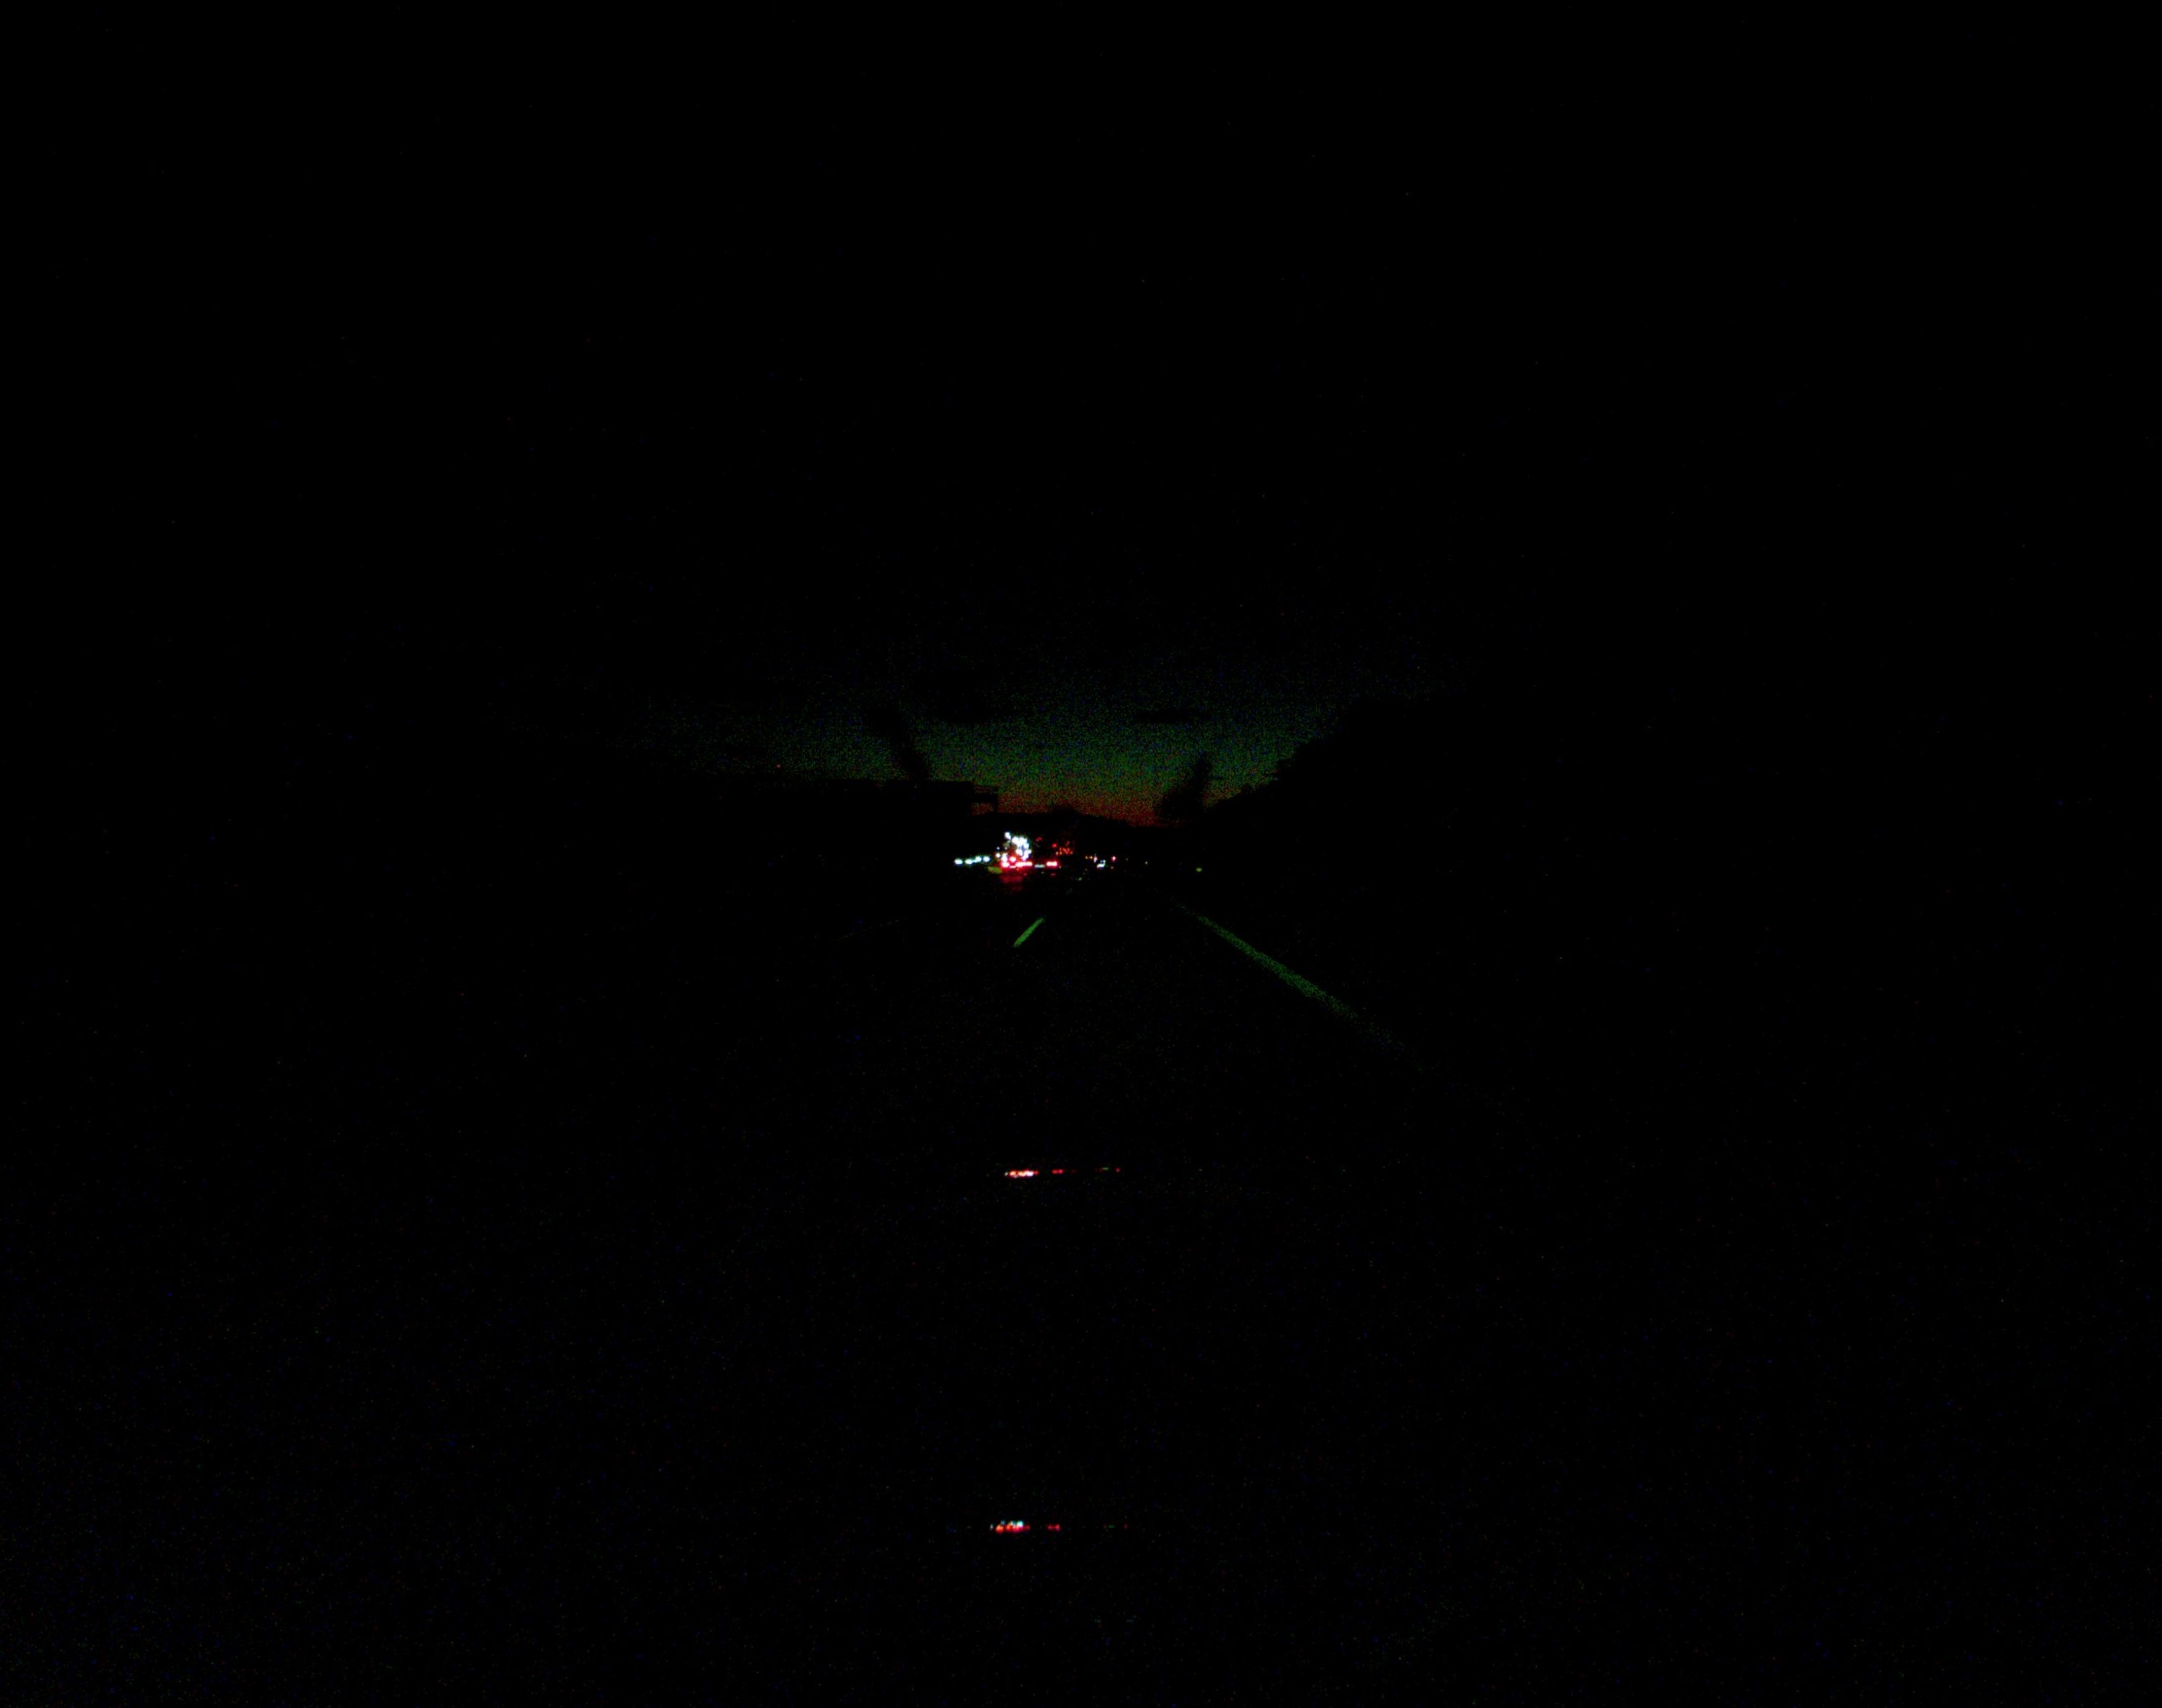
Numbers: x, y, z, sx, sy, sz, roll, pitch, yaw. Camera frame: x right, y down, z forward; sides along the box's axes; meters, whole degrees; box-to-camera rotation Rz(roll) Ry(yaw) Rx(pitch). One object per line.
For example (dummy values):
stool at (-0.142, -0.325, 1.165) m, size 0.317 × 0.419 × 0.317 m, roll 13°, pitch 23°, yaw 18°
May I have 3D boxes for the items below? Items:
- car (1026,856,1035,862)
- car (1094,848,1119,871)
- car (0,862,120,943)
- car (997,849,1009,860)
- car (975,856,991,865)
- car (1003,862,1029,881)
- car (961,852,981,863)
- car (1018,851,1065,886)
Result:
car at (-13.279, 1.320, 213.328) m, size 1.986 × 1.734 × 4.660 m, roll 0°, pitch 0°, yaw 1°
car at (2.279, 0.485, 74.879) m, size 2.189 × 1.955 × 4.764 m, roll -1°, pitch 1°, yaw 1°
car at (-21.537, 0.931, 15.403) m, size 1.988 × 1.509 × 3.998 m, roll 0°, pitch 0°, yaw -1°
car at (-20.536, 0.061, 214.825) m, size 2.450 × 2.936 × 8.332 m, roll 0°, pitch 0°, yaw 0°
car at (-16.669, 1.054, 138.316) m, size 1.986 × 1.509 × 5.186 m, roll 0°, pitch 0°, yaw 1°
car at (-5.246, 1.412, 66.380) m, size 1.544 × 1.431 × 5.516 m, roll -1°, pitch 0°, yaw 2°
car at (-15.203, 0.515, 112.607) m, size 1.987 × 1.509 × 5.201 m, roll 0°, pitch 0°, yaw 0°
car at (-2.040, 0.739, 43.639) m, size 1.986 × 1.721 × 5.944 m, roll -1°, pitch 0°, yaw 2°
